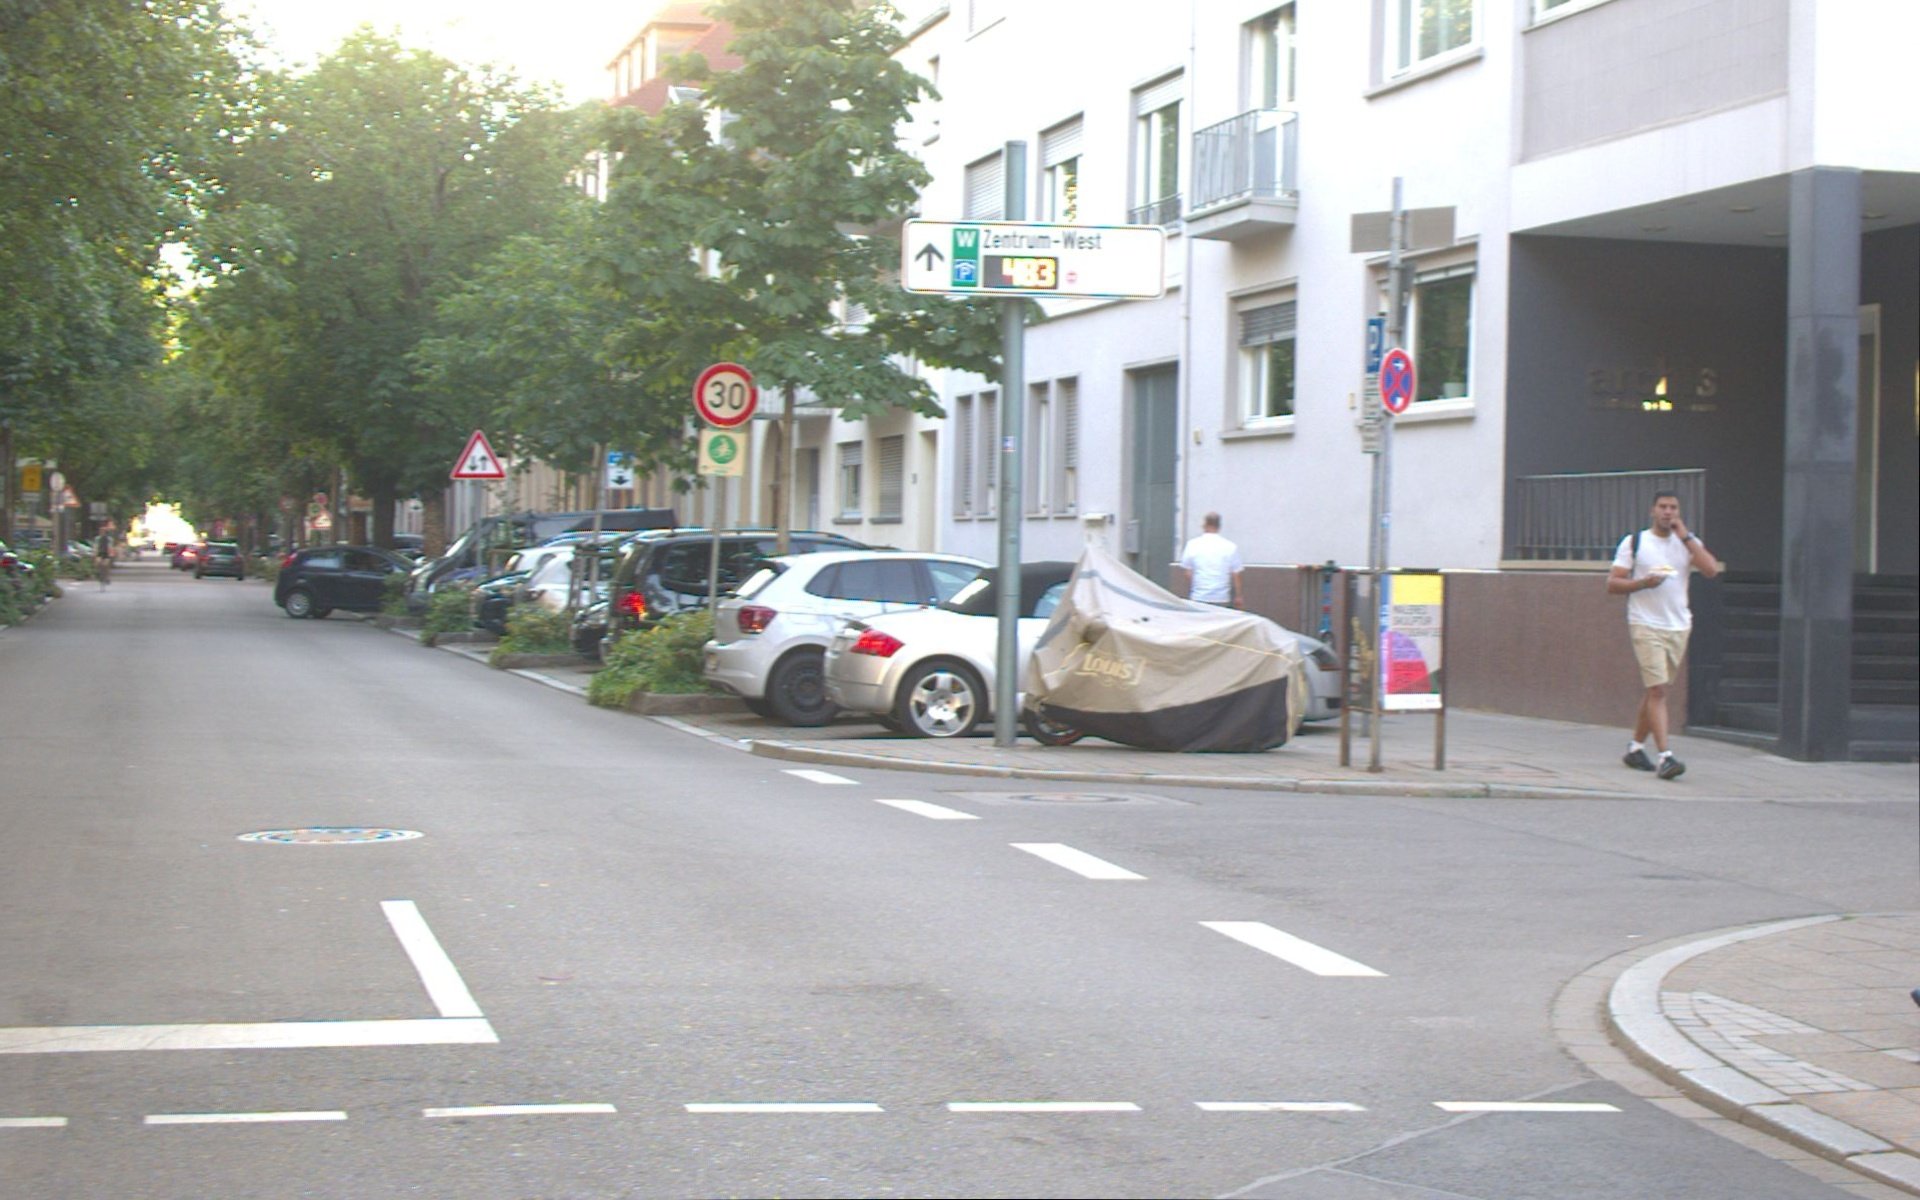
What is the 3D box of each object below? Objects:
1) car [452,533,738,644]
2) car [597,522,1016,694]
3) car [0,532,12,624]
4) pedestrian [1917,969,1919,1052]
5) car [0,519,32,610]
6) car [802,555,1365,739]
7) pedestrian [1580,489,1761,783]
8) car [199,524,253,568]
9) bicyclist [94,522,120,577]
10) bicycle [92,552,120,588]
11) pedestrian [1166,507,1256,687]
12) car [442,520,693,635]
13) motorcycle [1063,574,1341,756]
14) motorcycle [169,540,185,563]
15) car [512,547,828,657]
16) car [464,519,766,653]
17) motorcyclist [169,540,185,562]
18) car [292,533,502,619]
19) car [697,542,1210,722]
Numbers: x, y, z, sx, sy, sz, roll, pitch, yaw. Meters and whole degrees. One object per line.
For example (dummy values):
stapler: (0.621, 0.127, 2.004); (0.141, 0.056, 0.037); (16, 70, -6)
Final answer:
car: (-5.442, -0.182, 51.070); (4.013, 1.525, 1.707); (1, 1, -13)
car: (-1.595, 0.078, 35.085); (4.013, 1.684, 1.707); (1, 1, -13)
car: (-16.968, -0.382, 52.744); (4.546, 1.405, 1.834); (1, 1, -12)
pedestrian: (3.120, 0.703, 10.088); (0.505, 1.331, 0.541); (2, 1, 10)
car: (-19.863, -0.726, 64.594); (4.546, 1.686, 1.834); (1, 1, -12)
car: (0.917, 0.349, 26.425); (4.013, 1.338, 1.707); (1, 1, -12)
pedestrian: (4.564, 0.219, 22.124); (0.766, 1.835, 0.944); (2, 1, -12)
car: (-27.738, -2.059, 129.781); (1.824, 1.556, 4.029); (2, 1, -14)
bicyclist: (-23.015, -1.371, 92.742); (0.571, 1.465, 0.643); (2, 0, -19)
bicycle: (-23.033, -0.822, 92.745); (0.571, 0.946, 1.745); (2, 0, -19)
pedestrian: (2.488, -0.038, 34.110); (0.703, 1.746, 0.700); (2, 1, -9)
car: (-6.665, -0.387, 58.259); (4.013, 1.824, 1.707); (1, 1, -13)
motorcycle: (1.627, 0.435, 23.285); (1.799, 1.195, 0.613); (1, 1, -3)
motorcycle: (-43.607, -2.725, 191.351); (0.818, 1.232, 2.026); (2, 0, -13)
car: (-3.905, 0.018, 46.124); (4.013, 1.404, 1.707); (0, 1, -13)
car: (-4.861, -0.203, 48.271); (4.013, 1.809, 1.707); (1, 1, -13)
motorcyclist: (-43.596, -2.728, 191.307); (0.818, 1.232, 0.850); (2, 0, -13)
car: (-11.498, -0.490, 70.428); (3.978, 1.572, 1.910); (2, 0, -2)
car: (-0.086, 0.262, 28.859); (4.013, 1.437, 1.707); (0, 1, -13)
